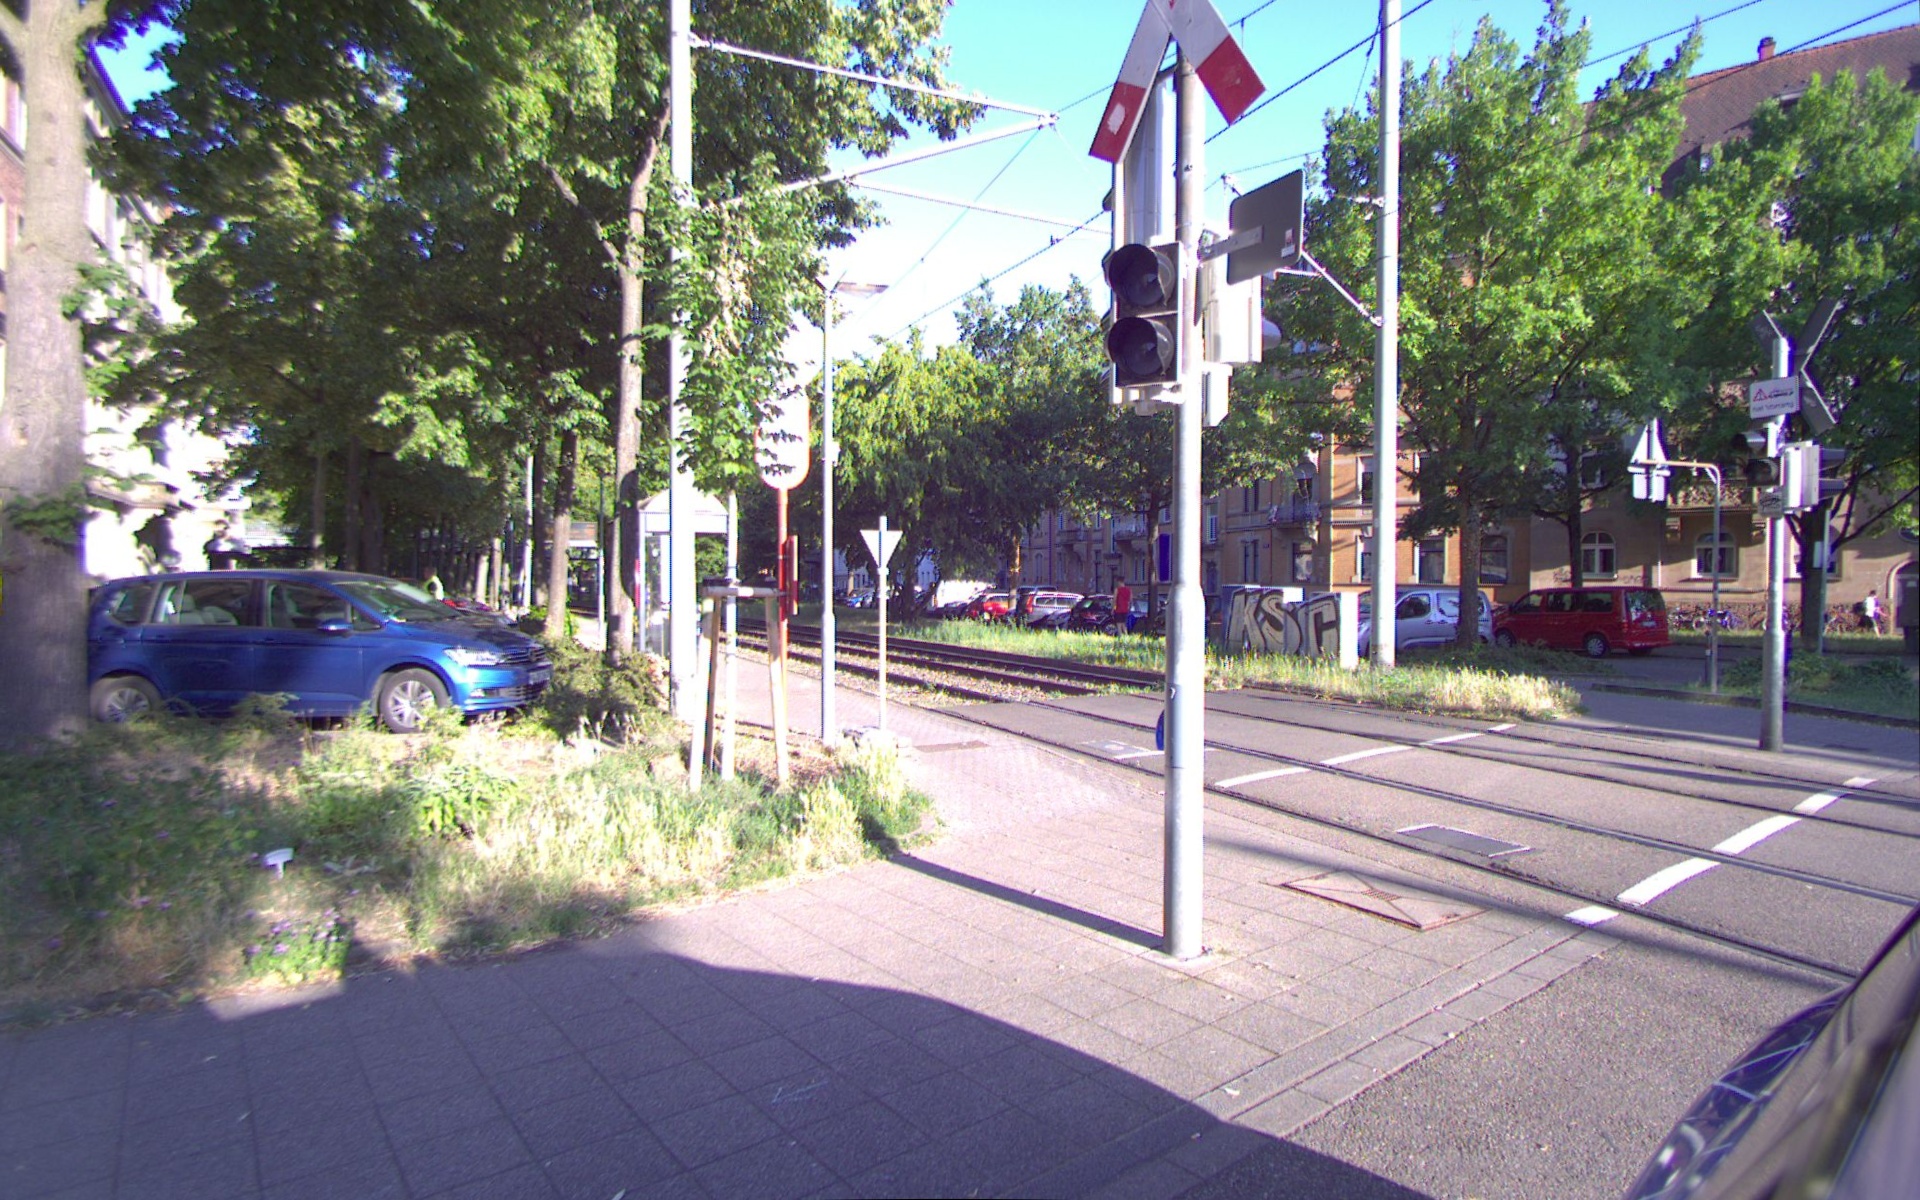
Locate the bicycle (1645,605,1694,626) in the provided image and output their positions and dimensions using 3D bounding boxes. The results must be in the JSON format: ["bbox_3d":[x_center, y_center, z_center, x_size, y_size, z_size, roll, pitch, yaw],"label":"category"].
[{"bbox_3d":[27.203,0.580,38.815,1.501,0.741,0.364,1,1,37],"label":"bicycle"}]

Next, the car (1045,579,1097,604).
[{"bbox_3d":[6.884,-0.518,63.123,1.732,1.456,3.897,-2,1,-18],"label":"car"}]

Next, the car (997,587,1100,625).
[{"bbox_3d":[3.686,0.249,42.425,3.915,1.479,1.688,1,0,-17],"label":"car"}]

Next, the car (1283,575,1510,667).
[{"bbox_3d":[9.907,0.426,23.066,4.457,1.938,1.955,0,2,-16],"label":"car"}]

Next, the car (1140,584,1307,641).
[{"bbox_3d":[7.907,0.353,30.513,4.457,1.592,1.955,0,2,-16],"label":"car"}]

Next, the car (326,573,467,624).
[{"bbox_3d":[-20.401,-0.057,36.721,4.209,1.716,1.806,1,0,7],"label":"car"}]

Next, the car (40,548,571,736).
[{"bbox_3d":[-6.493,0.384,10.376,4.336,1.708,1.742,-1,1,1],"label":"car"}]

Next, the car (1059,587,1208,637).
[{"bbox_3d":[5.959,0.397,34.906,4.616,1.592,2.005,0,2,-16],"label":"car"}]

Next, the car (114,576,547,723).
[{"bbox_3d":[-7.968,0.569,13.085,4.470,1.655,1.928,1,0,4],"label":"car"}]

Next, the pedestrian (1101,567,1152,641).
[{"bbox_3d":[4.421,0.094,26.930,0.886,1.942,1.152,0,1,-17],"label":"pedestrian"}]

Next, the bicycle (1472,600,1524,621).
[{"bbox_3d":[22.821,0.437,42.966,1.888,0.858,0.518,0,0,37],"label":"bicycle"}]

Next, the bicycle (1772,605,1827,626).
[{"bbox_3d":[30.634,0.558,36.940,1.501,0.741,0.364,1,1,37],"label":"bicycle"}]

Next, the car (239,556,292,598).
[{"bbox_3d":[-38.347,-1.264,55.987,1.960,2.200,4.618,1,1,-29],"label":"car"}]

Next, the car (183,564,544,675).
[{"bbox_3d":[-9.015,0.265,15.537,4.470,1.506,1.928,1,0,4],"label":"car"}]

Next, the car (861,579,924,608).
[{"bbox_3d":[-4.525,-0.452,68.102,3.915,1.855,1.688,1,0,-17],"label":"car"}]

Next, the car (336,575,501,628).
[{"bbox_3d":[-16.598,0.021,31.109,4.209,1.506,1.806,1,0,7],"label":"car"}]

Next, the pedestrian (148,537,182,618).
[{"bbox_3d":[-29.701,-0.851,37.819,0.902,2.984,0.701,0,0,-30],"label":"pedestrian"}]

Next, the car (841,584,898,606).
[{"bbox_3d":[-6.789,-0.374,75.775,3.915,1.507,1.688,1,0,-17],"label":"car"}]

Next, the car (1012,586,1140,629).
[{"bbox_3d":[4.564,0.272,40.009,4.616,1.592,2.005,0,2,-16],"label":"car"}]

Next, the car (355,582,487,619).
[{"bbox_3d":[-20.826,0.002,39.223,4.205,1.295,1.807,1,0,4],"label":"car"}]

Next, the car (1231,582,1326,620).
[{"bbox_3d":[13.507,0.014,43.185,1.745,1.493,4.280,-2,1,-16],"label":"car"}]

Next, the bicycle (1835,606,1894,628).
[{"bbox_3d":[31.964,0.603,35.780,1.501,0.741,0.364,-1,0,37],"label":"bicycle"}]

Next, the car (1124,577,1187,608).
[{"bbox_3d":[10.244,-0.417,53.159,1.654,1.493,3.717,-2,1,-17],"label":"car"}]

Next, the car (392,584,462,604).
[{"bbox_3d":[-36.892,-0.451,70.088,3.927,1.295,1.747,1,0,3],"label":"car"}]

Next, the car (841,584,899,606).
[{"bbox_3d":[-6.509,-0.343,73.207,3.915,1.507,1.688,1,0,-17],"label":"car"}]

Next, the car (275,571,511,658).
[{"bbox_3d":[-12.566,0.273,22.517,4.484,1.743,1.922,1,0,13],"label":"car"}]

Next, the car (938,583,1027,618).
[{"bbox_3d":[1.099,0.018,49.335,3.916,1.600,1.769,1,0,-20],"label":"car"}]

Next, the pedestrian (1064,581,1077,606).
[{"bbox_3d":[7.759,-0.485,71.031,0.661,1.739,0.724,-2,1,-17],"label":"pedestrian"}]

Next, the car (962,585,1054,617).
[{"bbox_3d":[2.228,0.045,47.274,3.915,1.441,1.688,1,0,-17],"label":"car"}]

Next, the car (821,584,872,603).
[{"bbox_3d":[-9.292,-0.515,82.890,3.915,1.507,1.688,1,0,-17],"label":"car"}]

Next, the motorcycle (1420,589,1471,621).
[{"bbox_3d":[21.119,0.196,44.047,1.888,1.370,0.799,0,0,37],"label":"motorcycle"}]

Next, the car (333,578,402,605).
[{"bbox_3d":[-42.472,-0.603,72.617,3.917,1.789,1.751,1,0,-10],"label":"car"}]

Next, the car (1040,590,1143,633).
[{"bbox_3d":[4.823,0.391,37.237,3.338,1.533,1.722,0,0,-16],"label":"car"}]

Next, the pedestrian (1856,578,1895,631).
[{"bbox_3d":[30.333,0.141,33.532,0.907,1.740,0.666,0,-1,39],"label":"pedestrian"}]

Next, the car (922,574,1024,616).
[{"bbox_3d":[0.645,-0.253,52.062,4.757,2.064,2.160,1,0,-17],"label":"car"}]

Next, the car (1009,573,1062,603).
[{"bbox_3d":[5.032,-0.824,68.456,1.873,1.906,4.735,-2,1,-18],"label":"car"}]

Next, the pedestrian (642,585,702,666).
[{"bbox_3d":[-4.737,0.398,16.645,0.808,1.288,0.878,0,1,-26],"label":"pedestrian"}]

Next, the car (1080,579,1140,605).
[{"bbox_3d":[8.611,-0.491,58.353,1.732,1.401,4.299,-2,1,-17],"label":"car"}]

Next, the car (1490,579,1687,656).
[{"bbox_3d":[17.840,0.414,29.047,1.745,1.957,4.783,-2,1,-18],"label":"car"}]

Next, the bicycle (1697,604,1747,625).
[{"bbox_3d":[28.707,0.524,38.144,1.501,0.741,0.364,1,1,37],"label":"bicycle"}]

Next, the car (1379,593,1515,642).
[{"bbox_3d":[16.391,0.549,34.332,1.745,1.451,4.280,-2,1,-16],"label":"car"}]

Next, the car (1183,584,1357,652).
[{"bbox_3d":[8.560,0.451,27.934,4.357,1.712,1.954,0,2,-23],"label":"car"}]

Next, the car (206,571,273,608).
[{"bbox_3d":[-32.800,-0.505,46.166,1.960,1.587,4.618,1,1,-29],"label":"car"}]

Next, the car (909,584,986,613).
[{"bbox_3d":[-0.719,-0.085,56.154,3.915,1.573,1.688,1,0,-17],"label":"car"}]
